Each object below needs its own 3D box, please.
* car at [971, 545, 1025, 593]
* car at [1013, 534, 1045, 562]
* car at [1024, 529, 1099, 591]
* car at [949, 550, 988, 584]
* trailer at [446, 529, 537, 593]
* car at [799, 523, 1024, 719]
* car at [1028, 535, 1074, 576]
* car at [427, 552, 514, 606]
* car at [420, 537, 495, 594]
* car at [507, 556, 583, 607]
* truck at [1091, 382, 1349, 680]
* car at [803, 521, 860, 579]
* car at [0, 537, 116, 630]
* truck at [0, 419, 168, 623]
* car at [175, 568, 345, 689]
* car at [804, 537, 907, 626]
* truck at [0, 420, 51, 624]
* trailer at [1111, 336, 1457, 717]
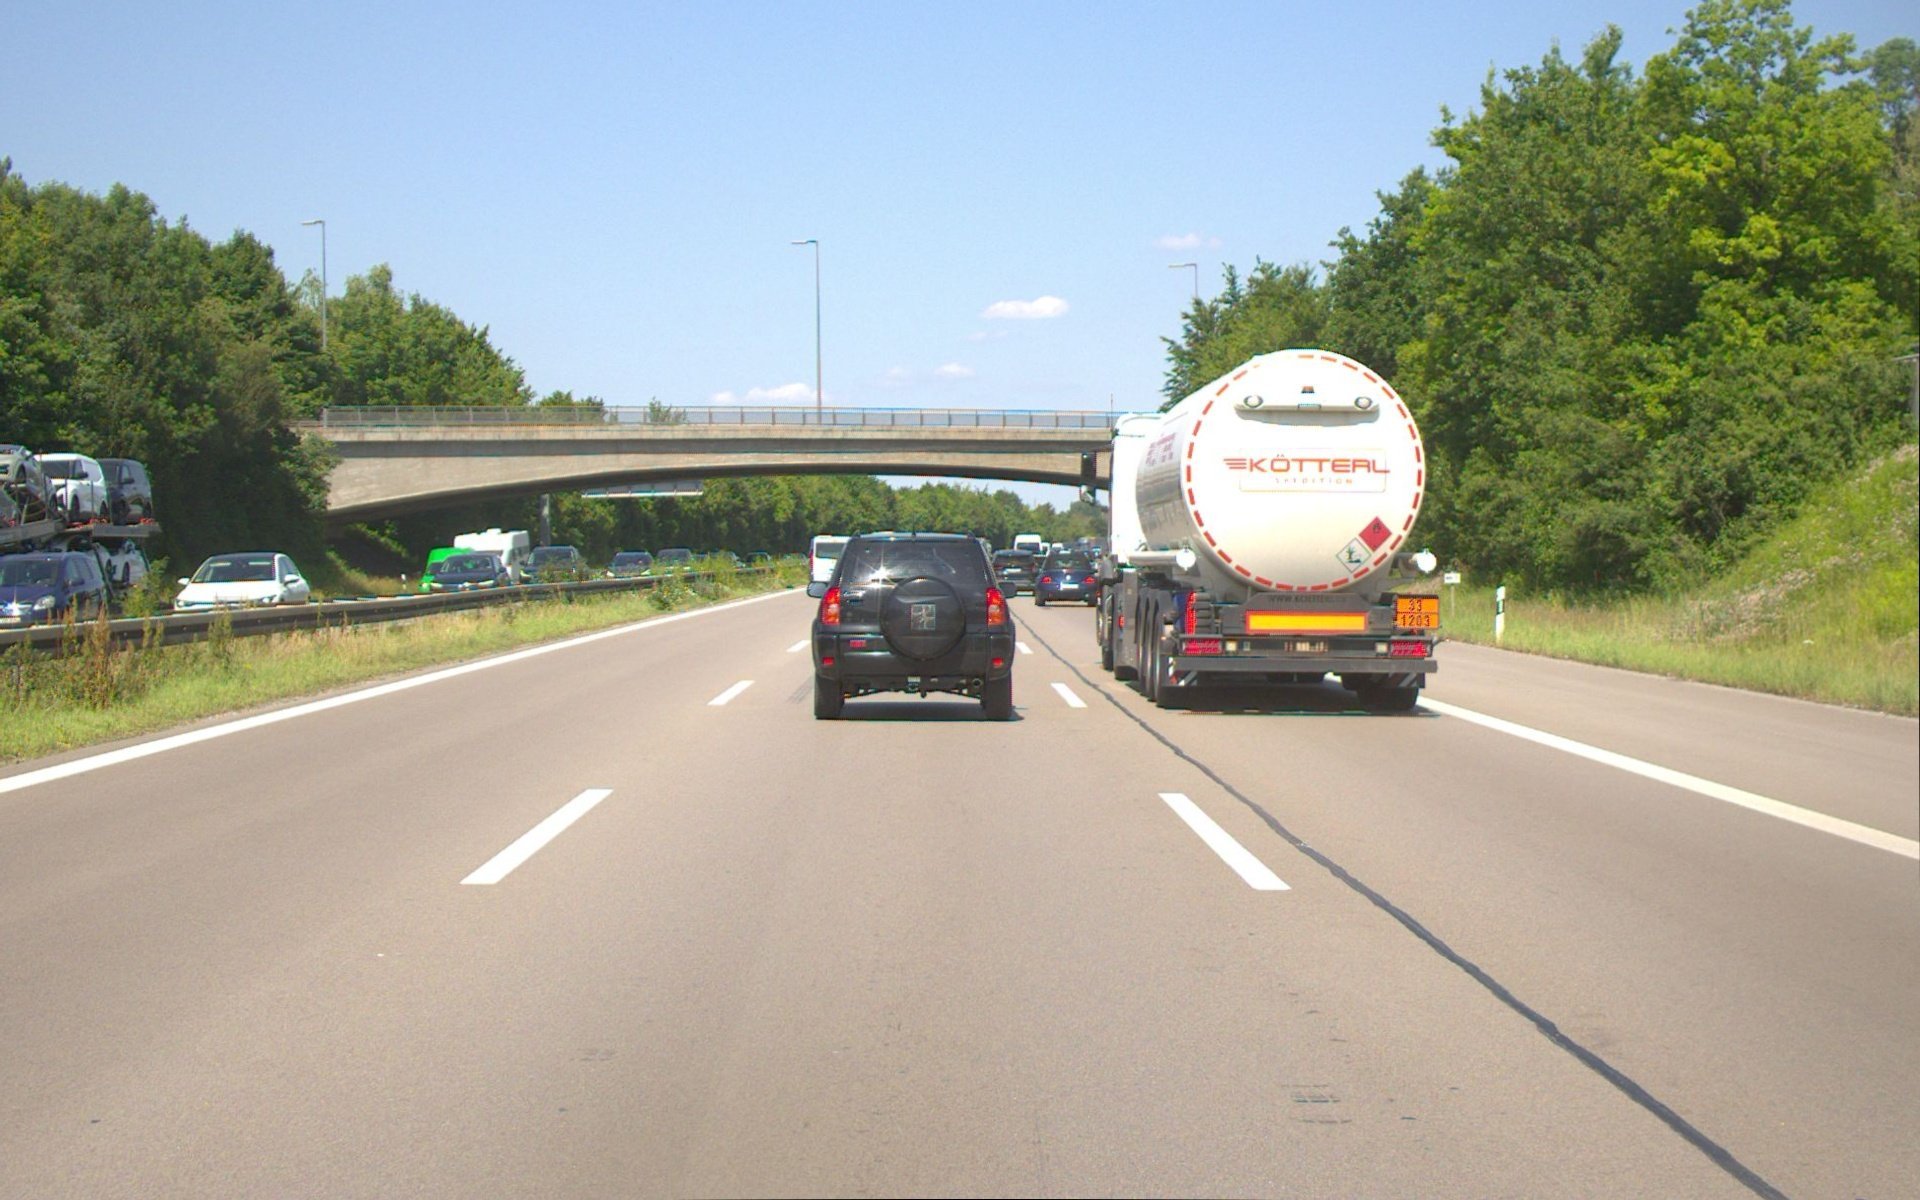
[{"bbox_3d":[1.347,-1.071,119.504,1.842,1.606,4.000,0,0,1],"label":"car"},{"bbox_3d":[4.391,-3.328,219.707,1.812,1.740,4.000,-1,1,-2],"label":"car"},{"bbox_3d":[2.871,-1.121,97.995,1.993,1.678,4.000,0,0,0],"label":"car"},{"bbox_3d":[0.422,-1.712,177.770,1.993,1.744,4.205,0,1,0],"label":"car"},{"bbox_3d":[-20.181,-1.712,148.504,2.731,2.678,8.630,0,1,0],"label":"trailer"},{"bbox_3d":[-0.450,0.151,31.316,1.906,1.659,4.000,0,1,-1],"label":"car"},{"bbox_3d":[4.058,-2.000,153.678,1.993,1.773,4.261,0,1,1],"label":"car"},{"bbox_3d":[-12.931,-0.573,90.963,1.716,1.385,4.000,-1,1,0],"label":"car"},{"bbox_3d":[-16.296,-1.126,111.635,1.814,1.802,4.382,-1,1,-1],"label":"car"},{"bbox_3d":[-13.030,-0.553,108.168,1.849,1.568,4.422,0,0,0],"label":"car"},{"bbox_3d":[3.087,-0.833,42.418,2.638,3.363,6.488,1,1,0],"label":"truck"},{"bbox_3d":[-4.629,-1.800,124.480,1.993,2.007,4.950,-1,1,-2],"label":"car"},{"bbox_3d":[-16.805,-0.329,62.108,1.993,1.608,4.581,-1,1,-1],"label":"car"},{"bbox_3d":[-20.858,-1.680,76.256,3.211,4.036,16.677,-1,1,-2],"label":"truck"},{"bbox_3d":[-12.090,0.473,59.681,1.993,2.007,4.914,0,0,-1],"label":"car"},{"bbox_3d":[-2.142,-0.391,69.717,1.993,1.700,4.336,-1,1,-2],"label":"car"},{"bbox_3d":[-20.574,-1.524,68.208,3.240,4.036,7.396,-1,1,-2],"label":"truck"},{"bbox_3d":[3.141,-0.740,36.329,2.648,3.378,11.152,1,1,0],"label":"trailer"}]
